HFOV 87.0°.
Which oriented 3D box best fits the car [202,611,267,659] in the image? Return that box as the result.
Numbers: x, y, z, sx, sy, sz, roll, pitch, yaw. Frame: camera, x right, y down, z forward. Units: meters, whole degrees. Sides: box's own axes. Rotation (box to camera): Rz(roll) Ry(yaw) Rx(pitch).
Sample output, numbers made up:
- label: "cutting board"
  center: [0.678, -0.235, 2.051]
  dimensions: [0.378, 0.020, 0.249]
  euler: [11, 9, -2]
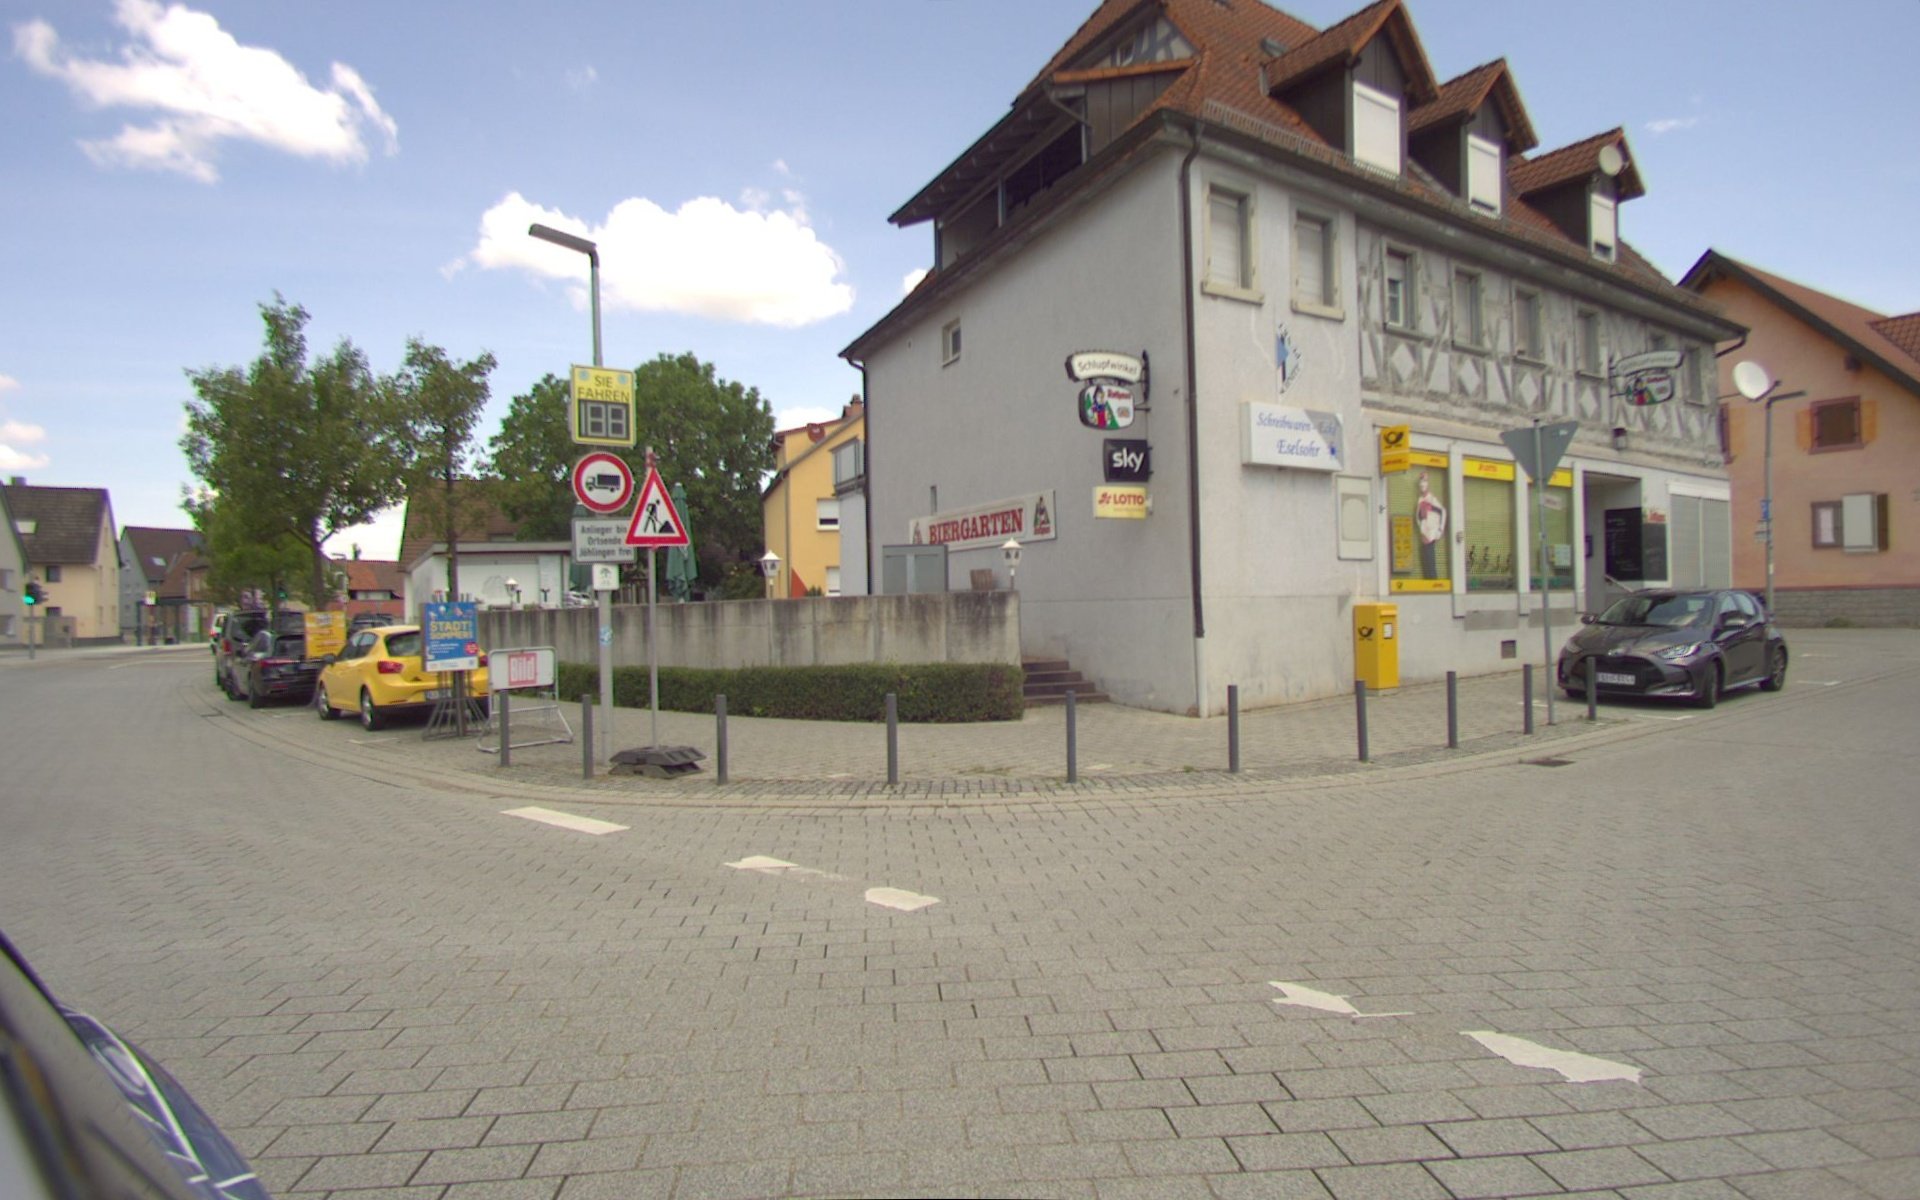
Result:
- label: "car"
  center: [-35.013, 1.668, 48.985]
  dimensions: [1.861, 2.202, 5.046]
  euler: [0, -1, -27]

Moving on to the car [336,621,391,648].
- label: "car"
  center: [-35.973, 2.052, 61.122]
  dimensions: [1.709, 1.502, 4.513]
  euler: [0, -1, -15]

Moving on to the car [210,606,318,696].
- label: "car"
  center: [-17.659, 1.228, 25.559]
  dimensions: [1.961, 2.005, 5.054]
  euler: [0, -1, -38]

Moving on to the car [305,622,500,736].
- label: "car"
  center: [-8.564, 1.103, 15.383]
  dimensions: [1.648, 1.486, 3.966]
  euler: [0, -2, -44]

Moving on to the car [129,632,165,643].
- label: "car"
  center: [-86.589, 3.970, 107.778]
  dimensions: [3.986, 1.068, 1.784]
  euler: [-1, -1, 31]

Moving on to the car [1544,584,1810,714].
- label: "car"
  center: [9.848, 0.573, 13.833]
  dimensions: [3.889, 1.529, 1.778]
  euler: [-1, -1, -36]

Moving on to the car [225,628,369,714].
- label: "car"
  center: [-13.050, 1.305, 19.792]
  dimensions: [1.793, 1.434, 4.544]
  euler: [0, -1, -41]
